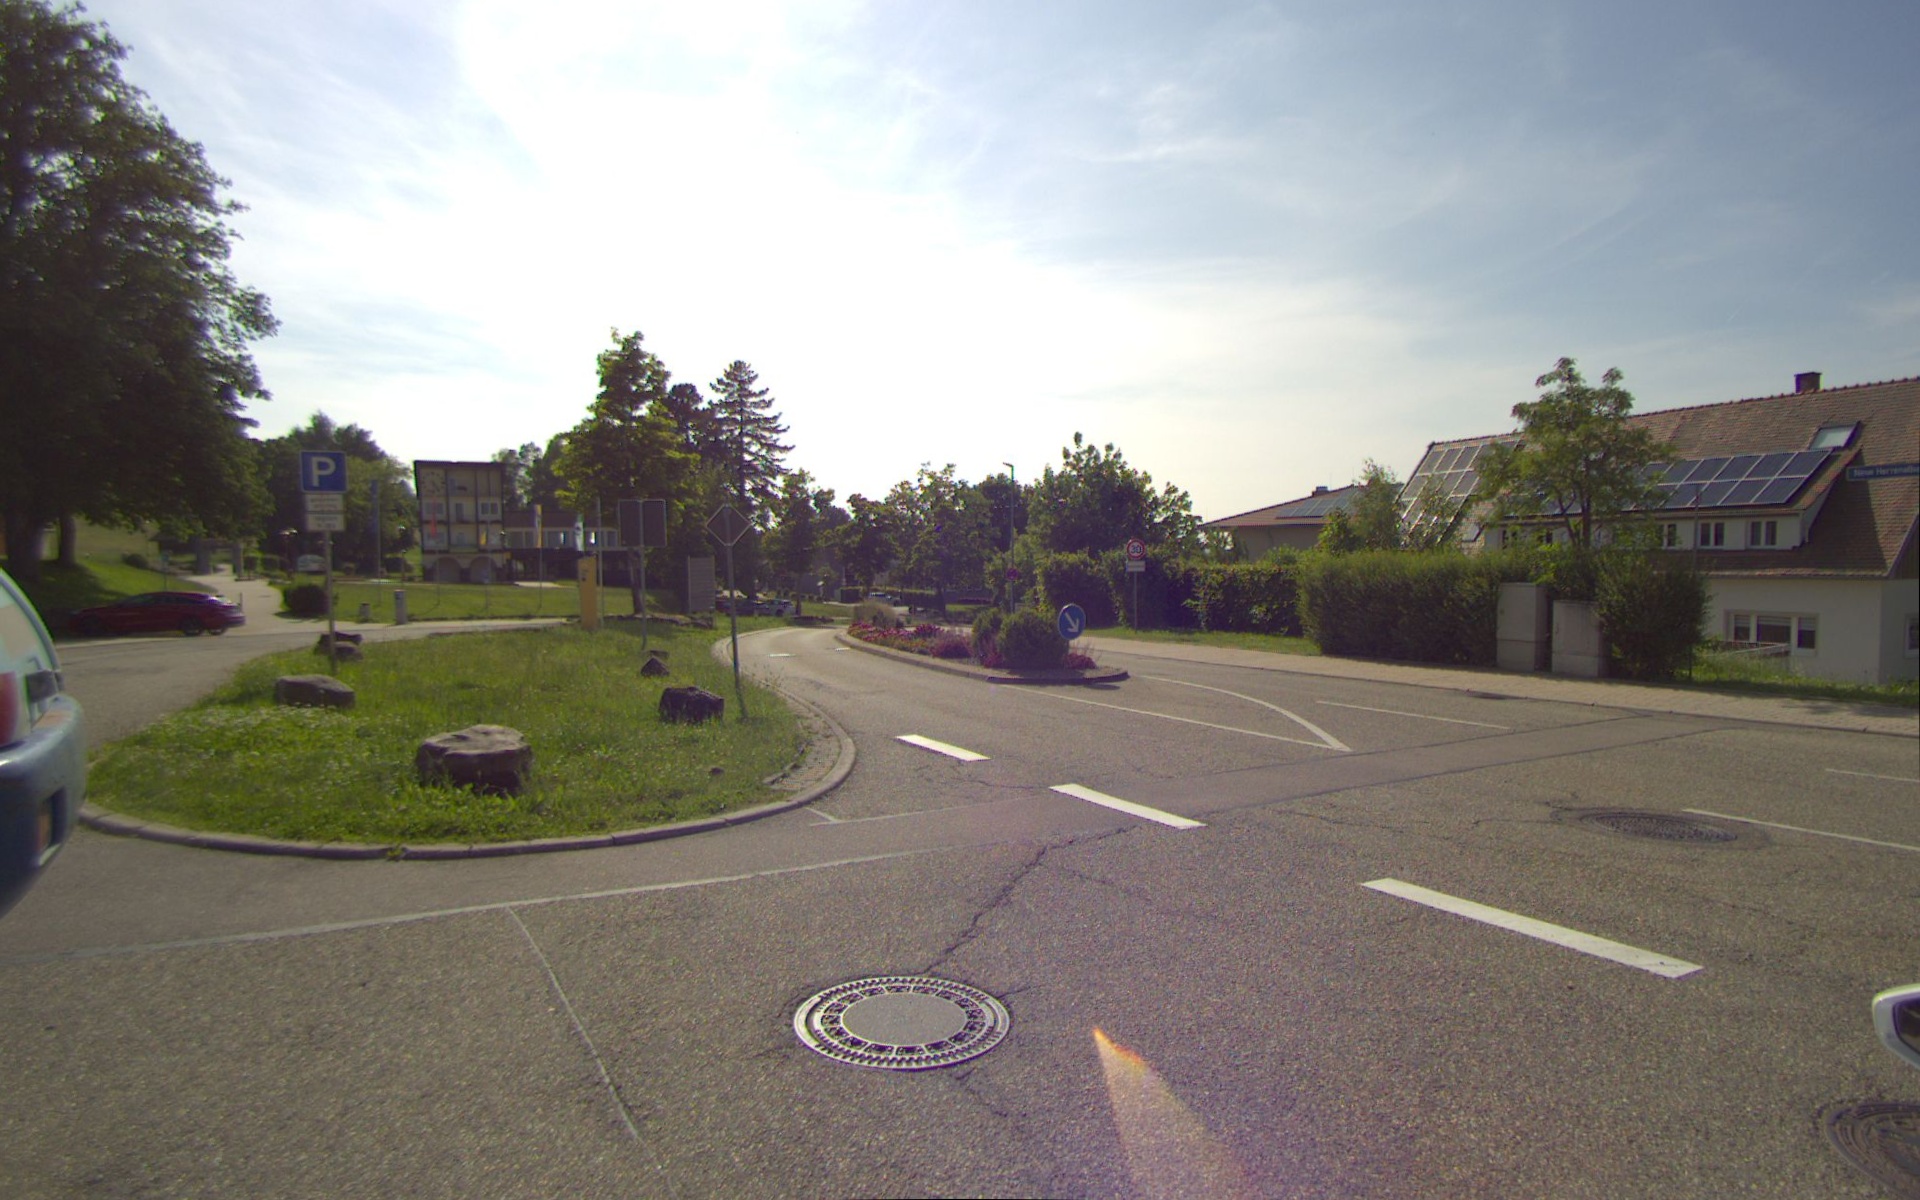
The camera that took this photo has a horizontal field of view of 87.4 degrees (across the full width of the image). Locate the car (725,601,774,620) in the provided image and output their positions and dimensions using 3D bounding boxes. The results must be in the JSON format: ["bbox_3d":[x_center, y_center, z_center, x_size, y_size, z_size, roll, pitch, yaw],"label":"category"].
[{"bbox_3d":[-17.661,0.851,84.139,3.643,1.452,1.775,2,0,25],"label":"car"}]

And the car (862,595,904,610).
[{"bbox_3d":[-9.188,0.320,120.011,4.678,1.555,1.982,-1,6,-33],"label":"car"}]

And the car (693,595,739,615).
[{"bbox_3d":[-19.757,0.440,81.317,3.146,1.490,1.775,2,0,23],"label":"car"}]

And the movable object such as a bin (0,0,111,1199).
[{"bbox_3d":[-4.175,-0.081,0.968,5.065,2.806,1.976,2,0,-41],"label":"movable object such as a bin"}]

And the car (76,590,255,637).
[{"bbox_3d":[-25.740,0.433,32.700,4.166,1.417,1.819,1,0,-14],"label":"car"}]

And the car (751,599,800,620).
[{"bbox_3d":[-16.162,0.819,87.923,3.866,1.630,1.775,2,0,25],"label":"car"}]
